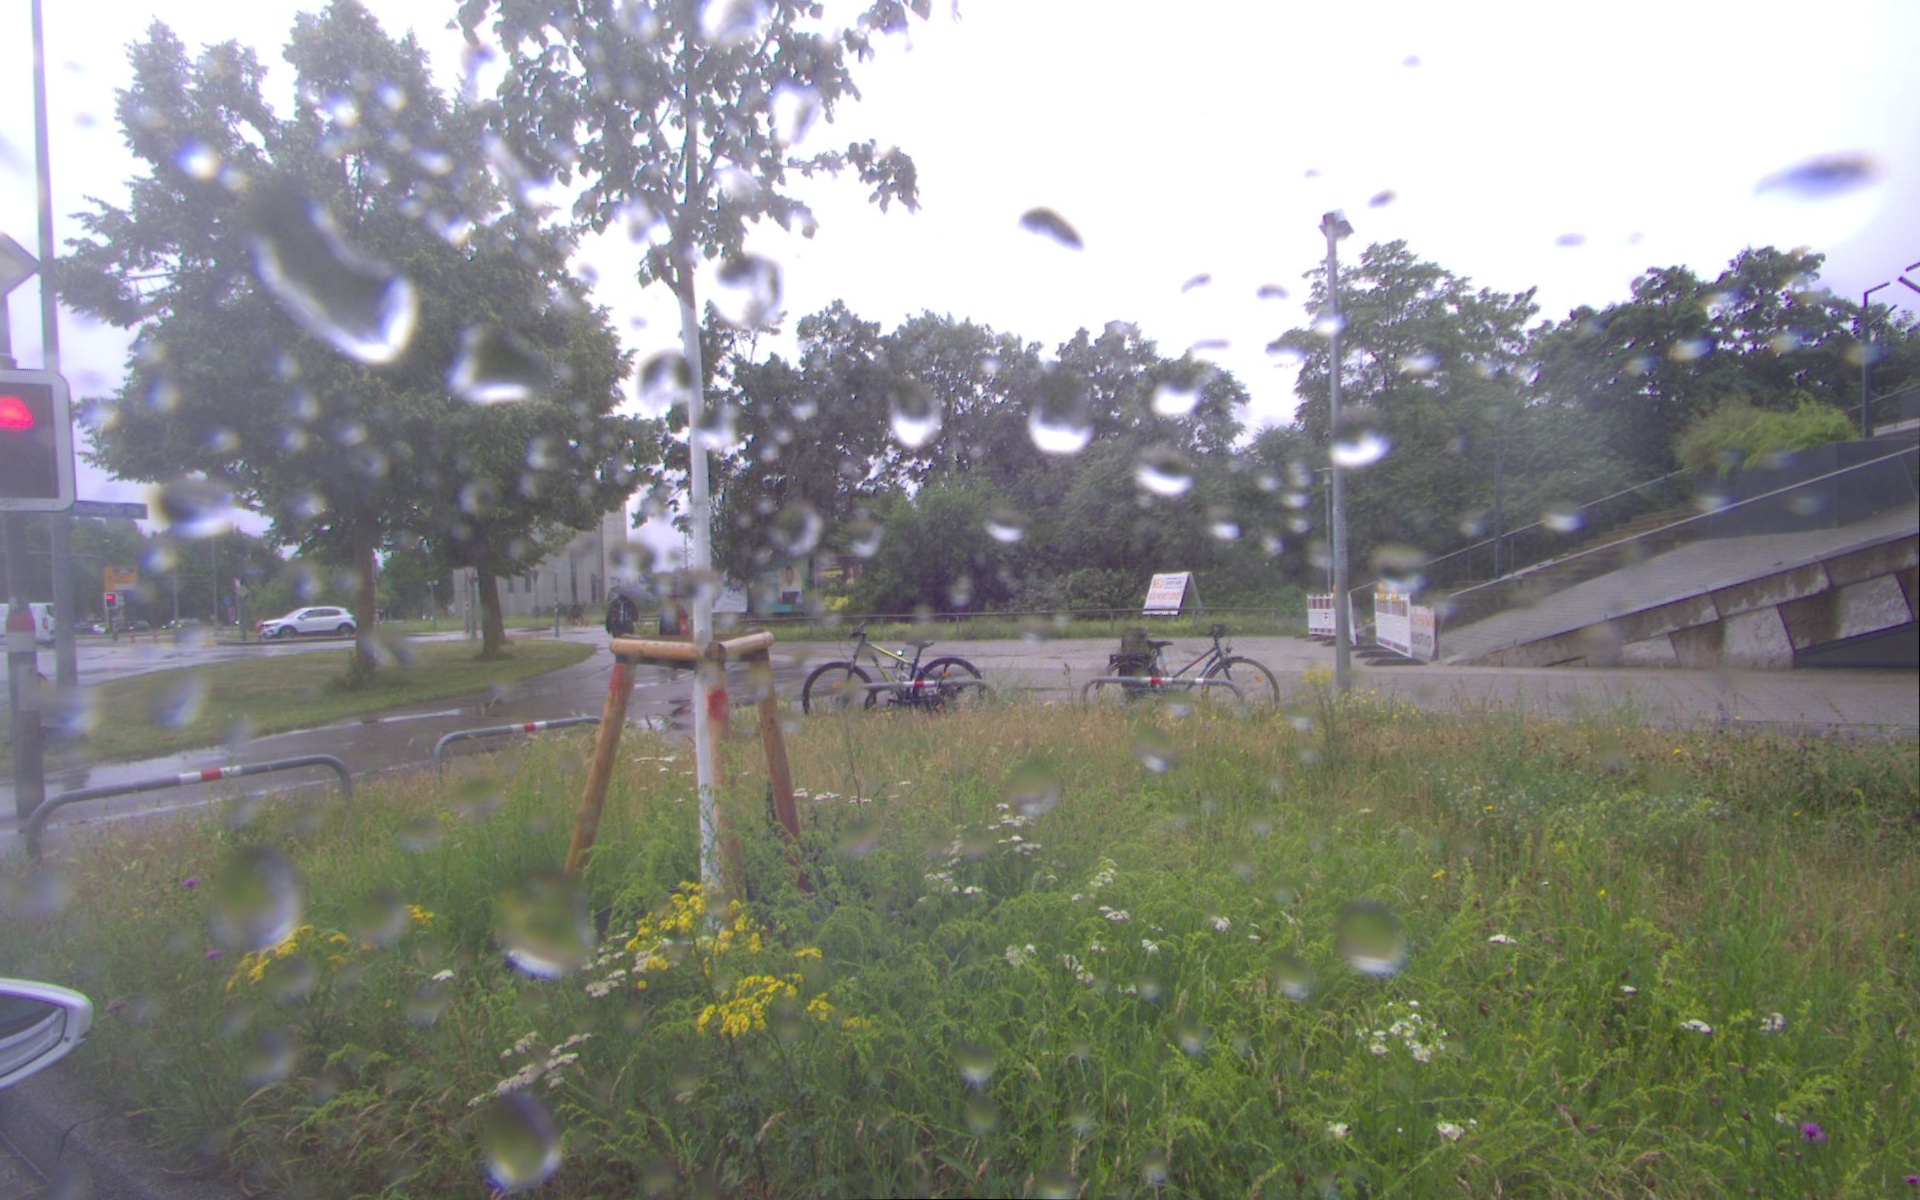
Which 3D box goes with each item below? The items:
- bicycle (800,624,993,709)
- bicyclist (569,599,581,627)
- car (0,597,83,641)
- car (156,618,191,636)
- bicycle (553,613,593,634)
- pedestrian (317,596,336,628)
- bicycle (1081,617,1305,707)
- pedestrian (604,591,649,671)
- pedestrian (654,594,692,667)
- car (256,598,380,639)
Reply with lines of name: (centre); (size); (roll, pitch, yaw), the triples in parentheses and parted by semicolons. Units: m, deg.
bicycle: (-0.608, 0.637, 9.689); (1.823, 0.797, 0.380); (0, -2, -2)
bicyclist: (-25.437, 0.865, 66.088); (0.491, 1.764, 0.586); (-2, -2, 44)
car: (-41.807, 0.868, 43.877); (4.688, 1.874, 1.999); (0, -2, -13)
car: (-91.803, 3.135, 116.963); (1.966, 2.039, 3.993); (0, -2, -20)
bicycle: (-25.516, 1.561, 65.997); (0.565, 1.330, 2.489); (-2, -3, 42)
pedestrian: (-37.674, 0.706, 59.577); (0.660, 1.892, 0.813); (-2, -2, 40)
bicycle: (2.149, 0.576, 9.338); (1.972, 0.796, 0.454); (-1, -2, 16)
pedestrian: (-6.583, 0.611, 19.791); (0.727, 1.542, 0.623); (0, -1, -5)
pedestrian: (-5.964, 0.621, 20.868); (0.562, 1.480, 0.682); (-2, 1, -3)
car: (-31.517, 0.890, 49.317); (1.975, 1.876, 4.742); (0, 0, 37)
